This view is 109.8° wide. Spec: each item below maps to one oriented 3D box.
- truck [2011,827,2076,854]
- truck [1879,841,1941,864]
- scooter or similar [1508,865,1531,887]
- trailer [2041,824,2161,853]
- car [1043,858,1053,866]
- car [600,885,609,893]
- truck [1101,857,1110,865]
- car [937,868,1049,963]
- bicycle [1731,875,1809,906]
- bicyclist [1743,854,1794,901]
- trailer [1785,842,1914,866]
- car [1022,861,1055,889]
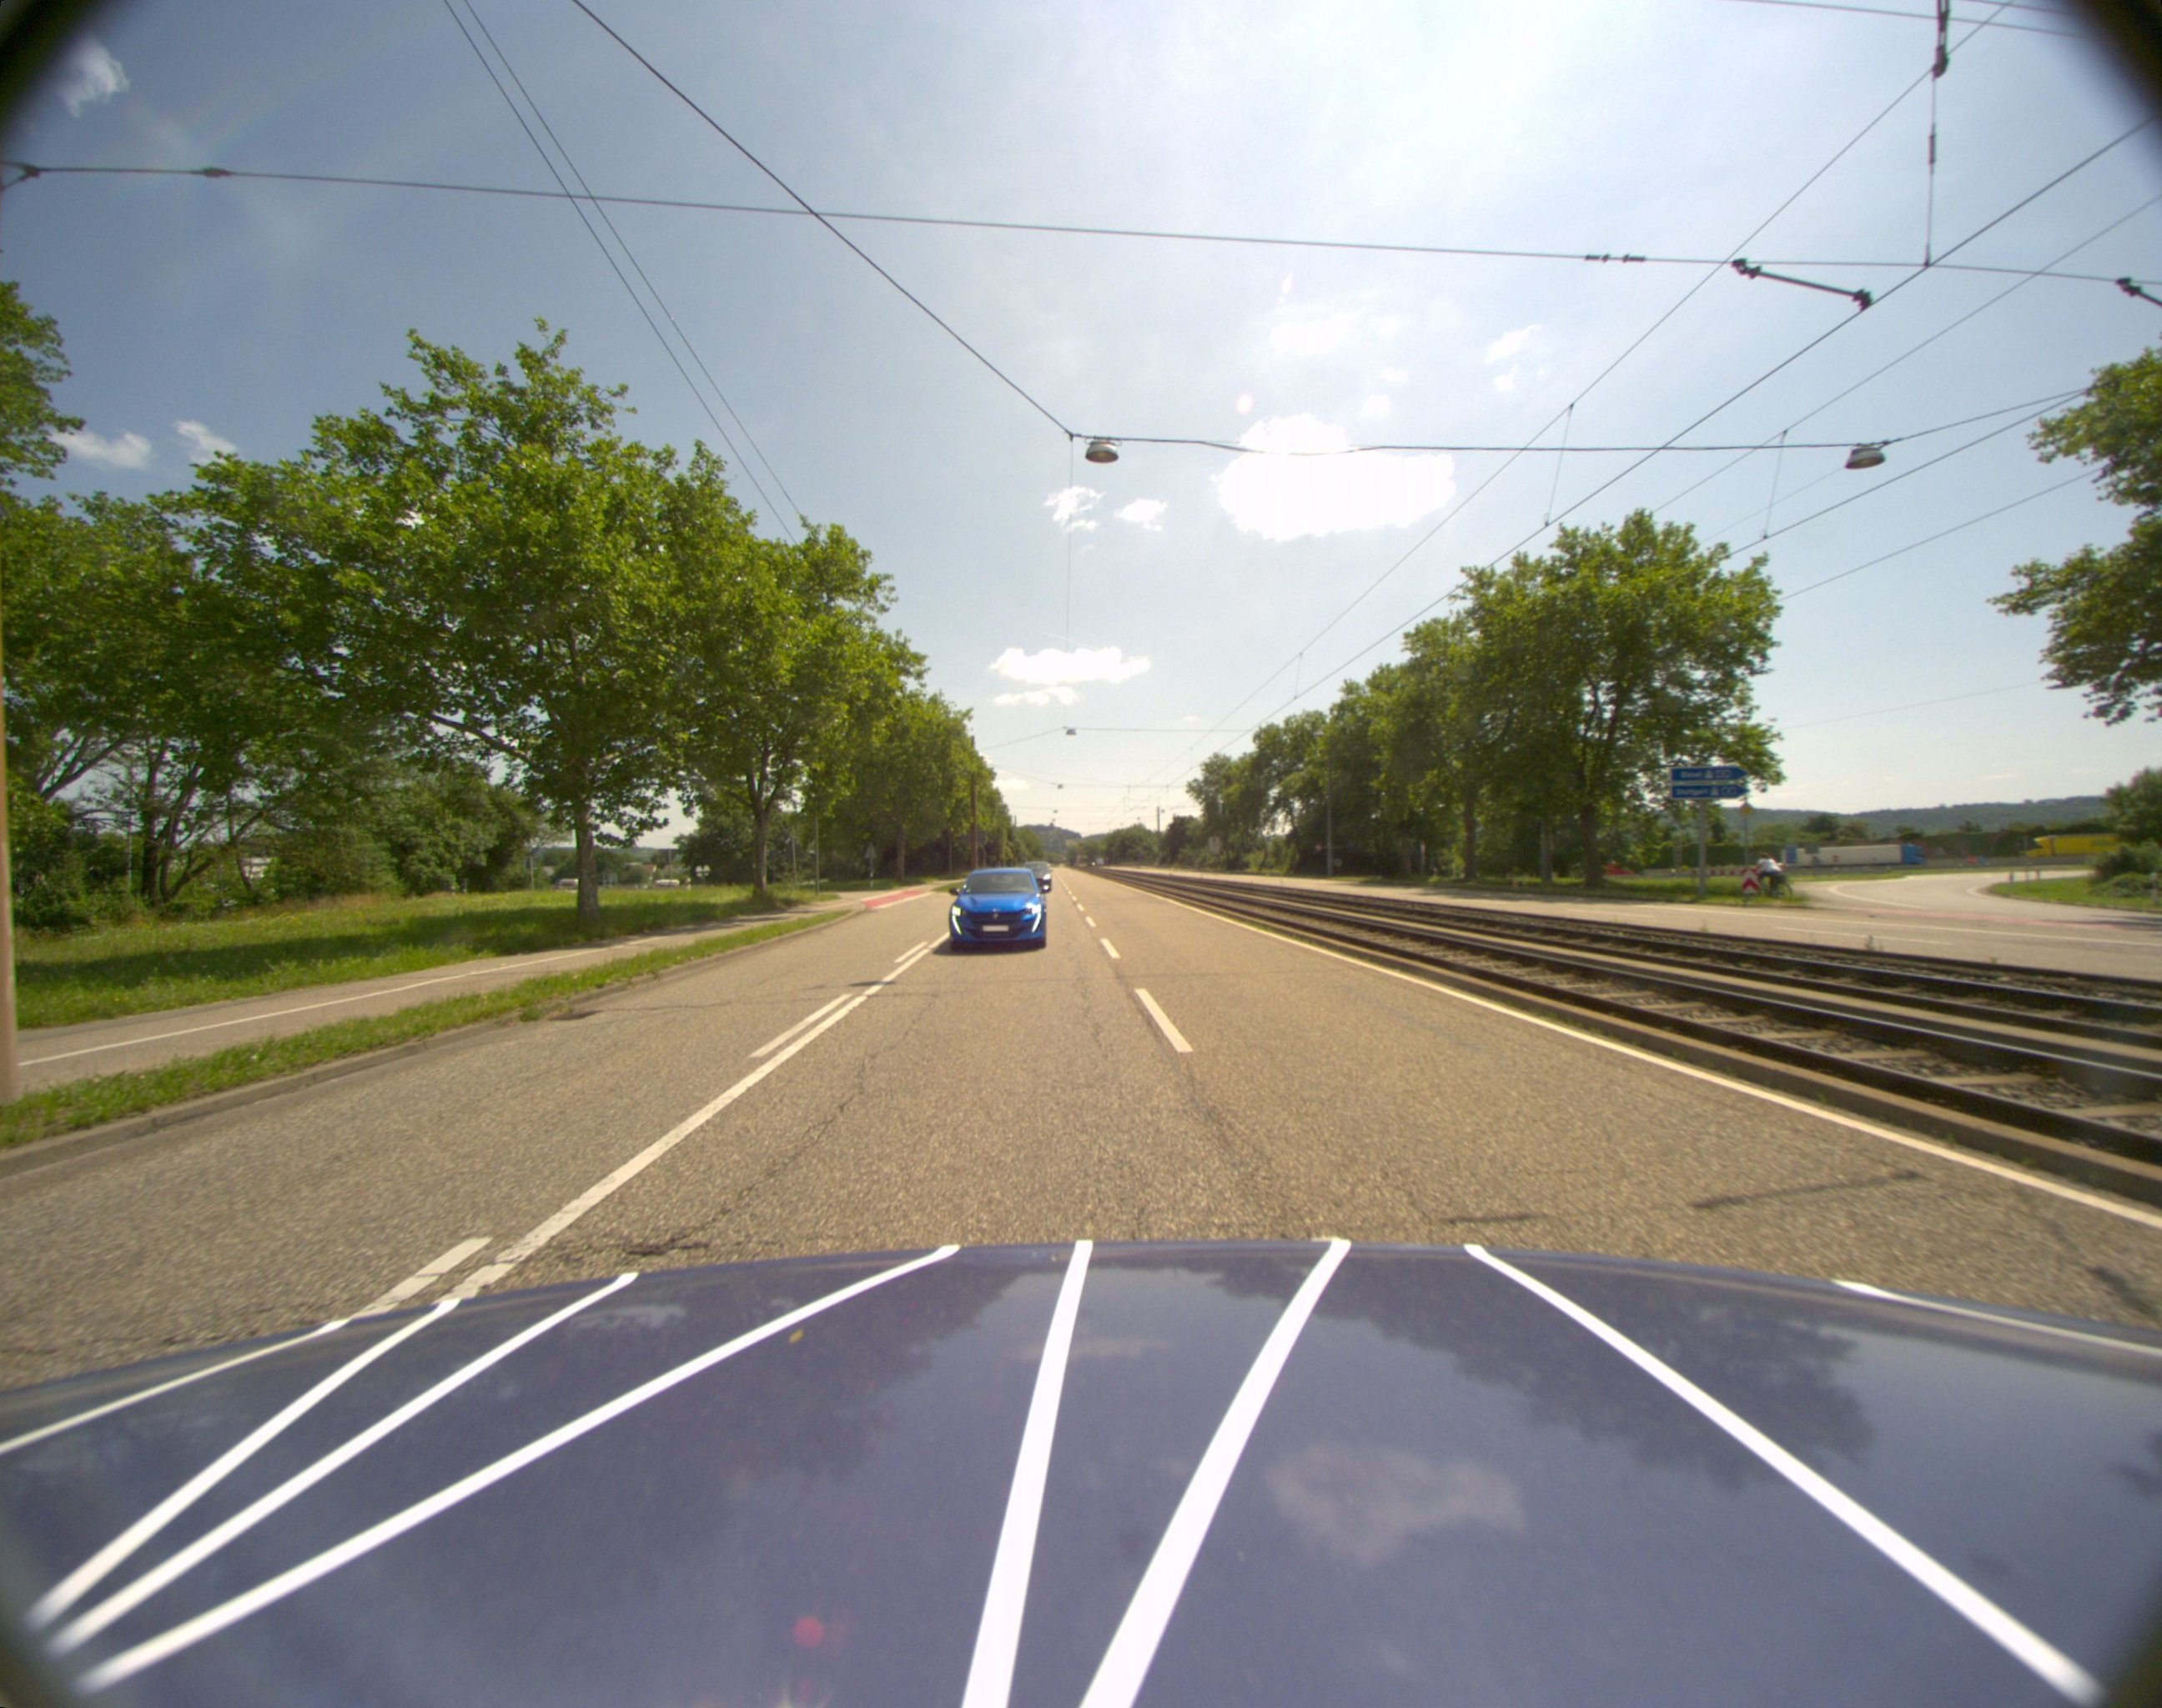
[{"bbox_3d":[162.711,-2.233,128.538,5.998,4.131,3.141,-2,-1,25],"label":"truck"},{"bbox_3d":[134.428,-0.189,123.271,5.997,3.407,3.142,-2,-1,28],"label":"truck"},{"bbox_3d":[23.477,1.171,40.680,0.462,1.144,1.235,-2,0,-4],"label":"scooter or similar"},{"bbox_3d":[168.744,-2.469,125.694,12.182,4.131,3.141,-2,-1,25],"label":"trailer"},{"bbox_3d":[-6.341,1.565,145.729,1.772,1.422,3.999,-1,0,-2],"label":"car"},{"bbox_3d":[-133.756,9.871,213.425,2.003,2.002,4.553,-1,0,-30],"label":"car"},{"bbox_3d":[8.122,2.172,251.188,2.333,2.566,6.619,-1,0,-4],"label":"truck"},{"bbox_3d":[-1.542,1.052,14.753,1.772,1.463,4.466,-2,0,-2],"label":"car"},{"bbox_3d":[22.762,1.177,25.150,0.623,0.934,2.090,-1,0,-3],"label":"bicycle"},{"bbox_3d":[22.746,0.773,25.168,0.623,1.509,1.160,-1,0,-3],"label":"bicyclist"},{"bbox_3d":[127.819,0.073,126.833,14.785,3.407,3.142,-2,-1,28],"label":"trailer"},{"bbox_3d":[-2.360,1.167,42.912,1.772,1.422,3.999,-2,0,-2],"label":"car"}]
